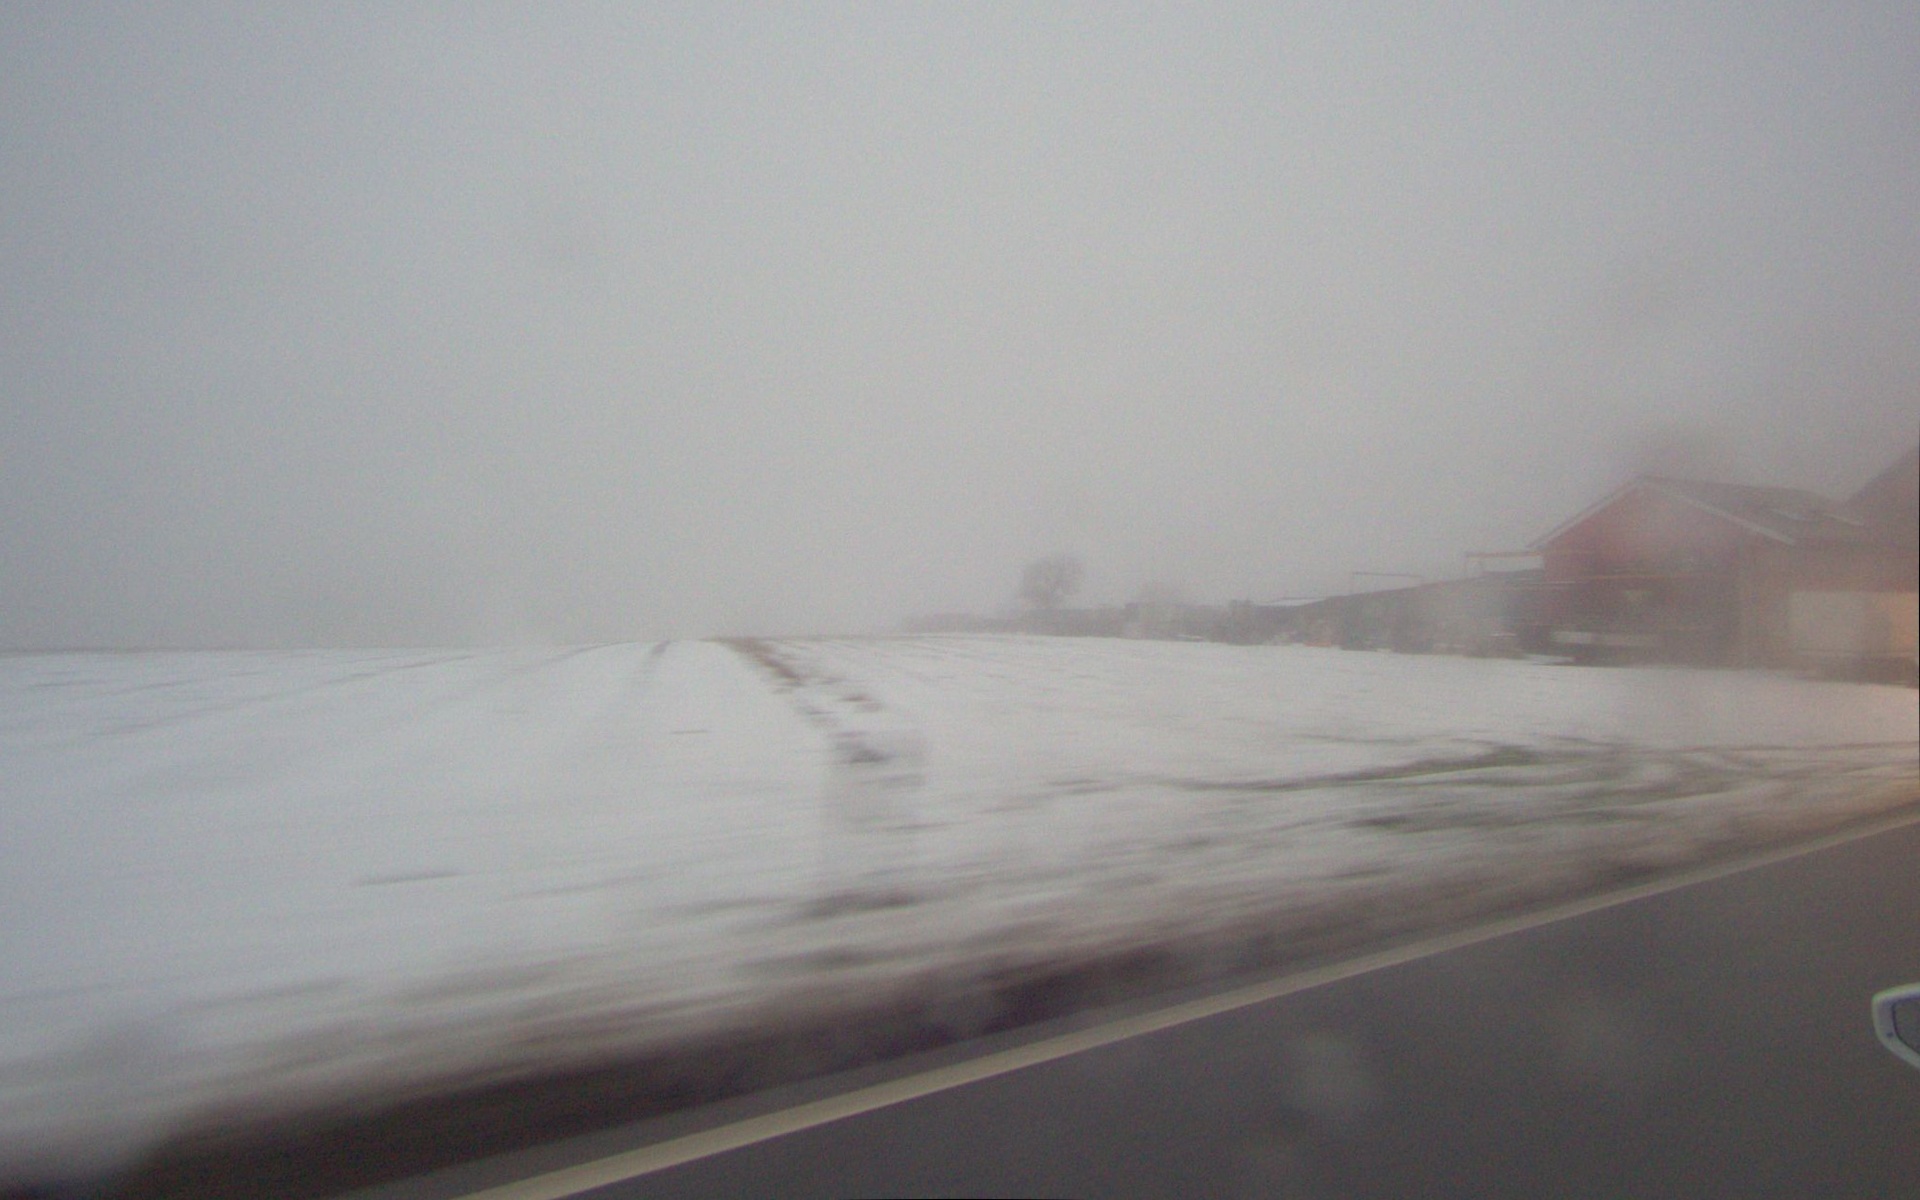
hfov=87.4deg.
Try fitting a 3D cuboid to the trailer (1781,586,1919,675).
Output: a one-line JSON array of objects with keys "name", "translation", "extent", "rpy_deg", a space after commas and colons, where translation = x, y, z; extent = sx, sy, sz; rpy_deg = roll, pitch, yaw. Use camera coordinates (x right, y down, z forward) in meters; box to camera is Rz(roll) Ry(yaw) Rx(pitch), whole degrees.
[{"name": "trailer", "translation": [27.032, 0.916, 30.235], "extent": [3.952, 2.522, 1.990], "rpy_deg": [1, -1, -23]}]

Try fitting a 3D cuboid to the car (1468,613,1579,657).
[{"name": "car", "translation": [22.752, 1.404, 40.558], "extent": [3.945, 1.684, 1.988], "rpy_deg": [1, -2, -25]}]

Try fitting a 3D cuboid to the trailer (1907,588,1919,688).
[{"name": "trailer", "translation": [26.911, 1.039, 27.153], "extent": [1.670, 2.640, 3.429], "rpy_deg": [-1, -2, 40]}]

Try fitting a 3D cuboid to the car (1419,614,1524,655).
[{"name": "car", "translation": [21.784, 1.457, 42.818], "extent": [3.944, 1.684, 1.989], "rpy_deg": [1, -2, -24]}]
